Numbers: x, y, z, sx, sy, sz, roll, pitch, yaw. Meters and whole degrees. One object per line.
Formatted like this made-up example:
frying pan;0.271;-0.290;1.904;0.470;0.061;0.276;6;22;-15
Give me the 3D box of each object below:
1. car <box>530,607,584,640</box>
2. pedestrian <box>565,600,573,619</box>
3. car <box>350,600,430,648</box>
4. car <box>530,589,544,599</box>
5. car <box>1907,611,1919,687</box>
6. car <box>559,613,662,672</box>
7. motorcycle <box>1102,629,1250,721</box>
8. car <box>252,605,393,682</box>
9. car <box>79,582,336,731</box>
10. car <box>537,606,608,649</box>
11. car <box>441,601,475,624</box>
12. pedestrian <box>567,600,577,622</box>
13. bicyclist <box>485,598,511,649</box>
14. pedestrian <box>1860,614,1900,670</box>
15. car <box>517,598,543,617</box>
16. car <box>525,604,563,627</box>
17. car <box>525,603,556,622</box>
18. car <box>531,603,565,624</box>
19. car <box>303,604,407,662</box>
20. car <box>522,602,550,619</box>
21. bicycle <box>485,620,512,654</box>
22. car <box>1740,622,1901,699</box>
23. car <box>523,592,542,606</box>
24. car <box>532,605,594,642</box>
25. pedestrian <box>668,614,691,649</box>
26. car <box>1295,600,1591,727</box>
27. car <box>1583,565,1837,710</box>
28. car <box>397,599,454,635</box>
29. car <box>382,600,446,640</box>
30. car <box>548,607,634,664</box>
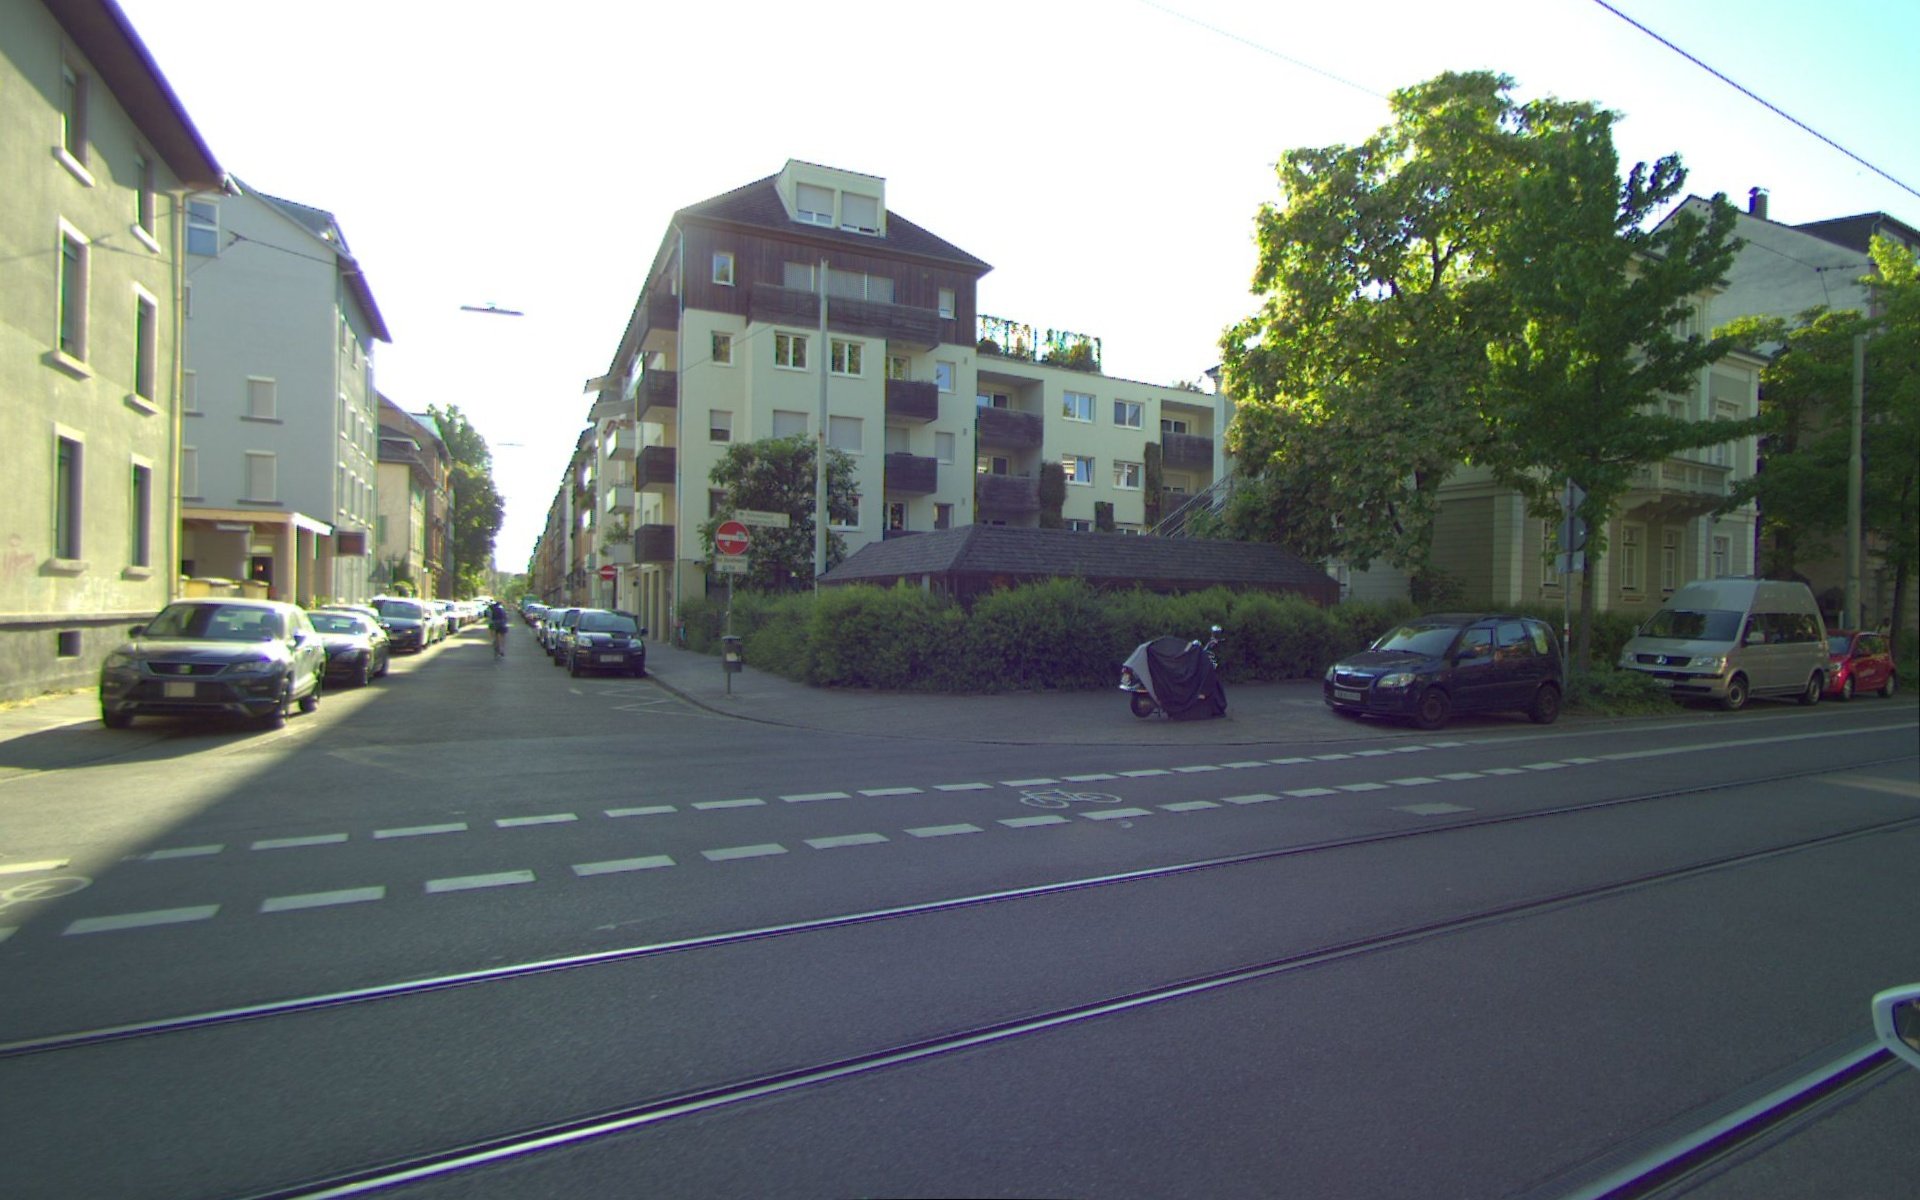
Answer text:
car;-17.253;0.972;42.902;1.856;1.325;4.048;1;-1;-26
pedestrian;-34.887;0.827;89.612;0.642;1.683;0.646;1;0;-27
car;-18.477;0.770;32.714;1.940;1.442;4.049;1;-1;-26
car;-72.632;-0.971;172.491;1.856;1.595;4.048;1;-1;-26
car;27.902;1.341;27.253;4.928;2.015;1.835;1;0;-29
car;-8.464;0.979;24.146;1.856;1.270;4.048;1;-1;-26
motorcycle;3.113;1.039;14.390;2.122;1.155;0.670;-1;3;-28
car;-12.879;0.828;20.555;1.940;1.407;4.049;1;-1;-26
car;-9.703;0.660;13.341;1.940;1.639;4.049;1;-1;-26
car;-12.998;0.891;33.592;1.856;1.325;4.048;1;-1;-26
car;-33.584;0.837;67.215;1.940;1.442;4.049;1;-1;-26
pedestrian;-30.821;0.872;79.758;0.642;1.683;0.646;1;0;-27
bicyclist;-13.441;0.670;29.225;0.639;1.453;0.800;1;-1;-27
pedestrian;28.480;1.296;31.100;0.936;1.684;0.602;1;1;-29
car;-36.851;0.661;85.992;1.856;1.595;4.048;1;-1;-26
car;-25.281;0.944;61.030;1.856;1.325;4.048;1;-1;-26
car;-30.250;0.887;72.385;1.856;1.325;4.048;1;-1;-26
car;-27.642;0.919;67.323;1.856;1.325;4.048;1;-1;-26
car;-15.822;0.835;26.466;1.940;1.407;4.049;1;-1;-26
car;-34.067;0.837;80.617;1.856;1.325;4.048;1;-1;-26
bicycle;-13.434;1.054;29.224;0.639;0.940;1.965;1;-1;-27
car;19.355;1.313;22.562;3.665;1.560;1.676;1;-1;-31
car;-50.070;-0.113;117.671;1.856;1.595;4.048;1;-1;-26
car;-15.085;0.864;38.090;1.856;1.325;4.048;1;-1;-26
pedestrian;-9.550;1.055;34.135;0.493;1.122;1.790;1;-1;-23
car;7.405;0.901;15.370;4.207;1.712;1.985;1;-1;-28
car;14.963;0.715;19.963;5.284;2.541;2.291;1;-1;-32
car;-22.786;0.721;42.938;1.940;1.442;4.049;1;-1;-26
car;-20.824;0.744;38.441;1.940;1.442;4.049;1;-1;-26
car;-10.457;0.950;28.296;1.856;1.469;4.048;1;-1;-26
